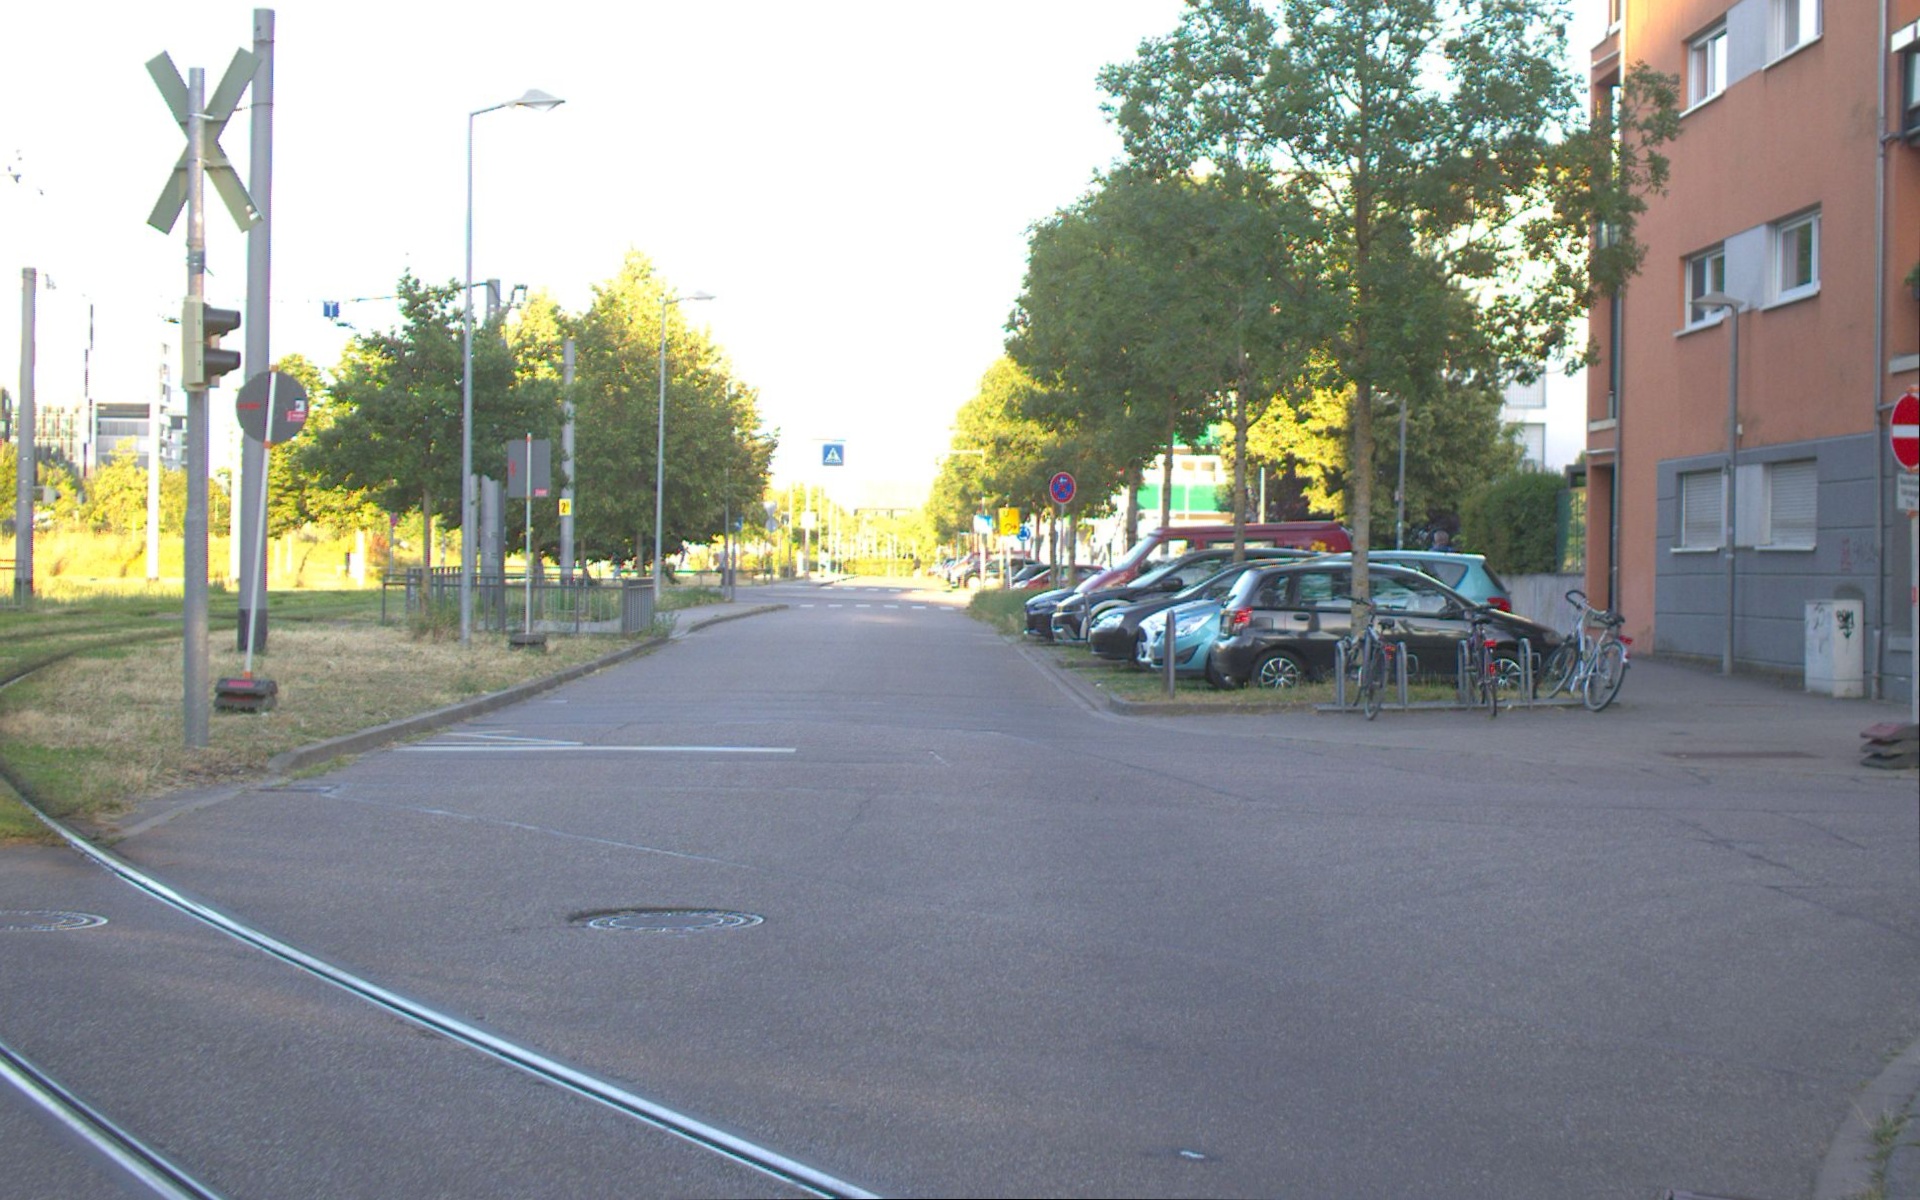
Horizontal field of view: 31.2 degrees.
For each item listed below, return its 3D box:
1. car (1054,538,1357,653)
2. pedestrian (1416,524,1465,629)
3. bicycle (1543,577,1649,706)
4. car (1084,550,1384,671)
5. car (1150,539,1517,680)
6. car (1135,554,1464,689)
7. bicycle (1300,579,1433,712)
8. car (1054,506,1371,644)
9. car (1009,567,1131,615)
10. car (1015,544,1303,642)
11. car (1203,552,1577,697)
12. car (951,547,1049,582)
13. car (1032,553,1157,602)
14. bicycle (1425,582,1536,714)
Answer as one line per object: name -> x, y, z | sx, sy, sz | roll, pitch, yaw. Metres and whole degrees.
car -> 3.514, -0.076, 49.775 | 4.215, 1.563, 1.793 | -1, 1, -1
pedestrian -> 7.976, -0.393, 57.054 | 0.668, 1.737, 0.699 | 1, 1, -1
bicycle -> 6.177, 0.386, 33.472 | 0.529, 1.123, 1.963 | 2, 2, -3
car -> 3.574, 0.155, 45.235 | 3.773, 1.490, 1.539 | 1, -1, -1
car -> 4.288, 0.093, 39.858 | 4.050, 1.563, 1.673 | 0, 1, -1
car -> 4.171, 0.250, 42.645 | 3.876, 1.563, 1.620 | 1, 1, -1
bicycle -> 3.901, 0.421, 33.096 | 0.716, 1.148, 1.899 | -1, 3, -11
car -> 4.001, -0.408, 55.123 | 4.920, 2.110, 2.017 | 1, 1, 1
car -> 3.545, -0.301, 111.438 | 3.802, 1.503, 1.679 | 1, 1, -3
car -> 3.306, -0.125, 57.780 | 4.668, 1.551, 1.811 | 1, 1, -2
car -> 4.656, 0.254, 37.509 | 3.748, 1.468, 1.613 | 1, 1, -5
car -> 1.861, -1.652, 159.195 | 4.484, 1.590, 2.000 | 1, 1, 1
car -> 4.236, -0.710, 108.697 | 3.802, 1.503, 1.679 | 1, 1, -3
bicycle -> 4.984, 0.444, 33.015 | 0.679, 1.148, 1.928 | -1, 2, -3
